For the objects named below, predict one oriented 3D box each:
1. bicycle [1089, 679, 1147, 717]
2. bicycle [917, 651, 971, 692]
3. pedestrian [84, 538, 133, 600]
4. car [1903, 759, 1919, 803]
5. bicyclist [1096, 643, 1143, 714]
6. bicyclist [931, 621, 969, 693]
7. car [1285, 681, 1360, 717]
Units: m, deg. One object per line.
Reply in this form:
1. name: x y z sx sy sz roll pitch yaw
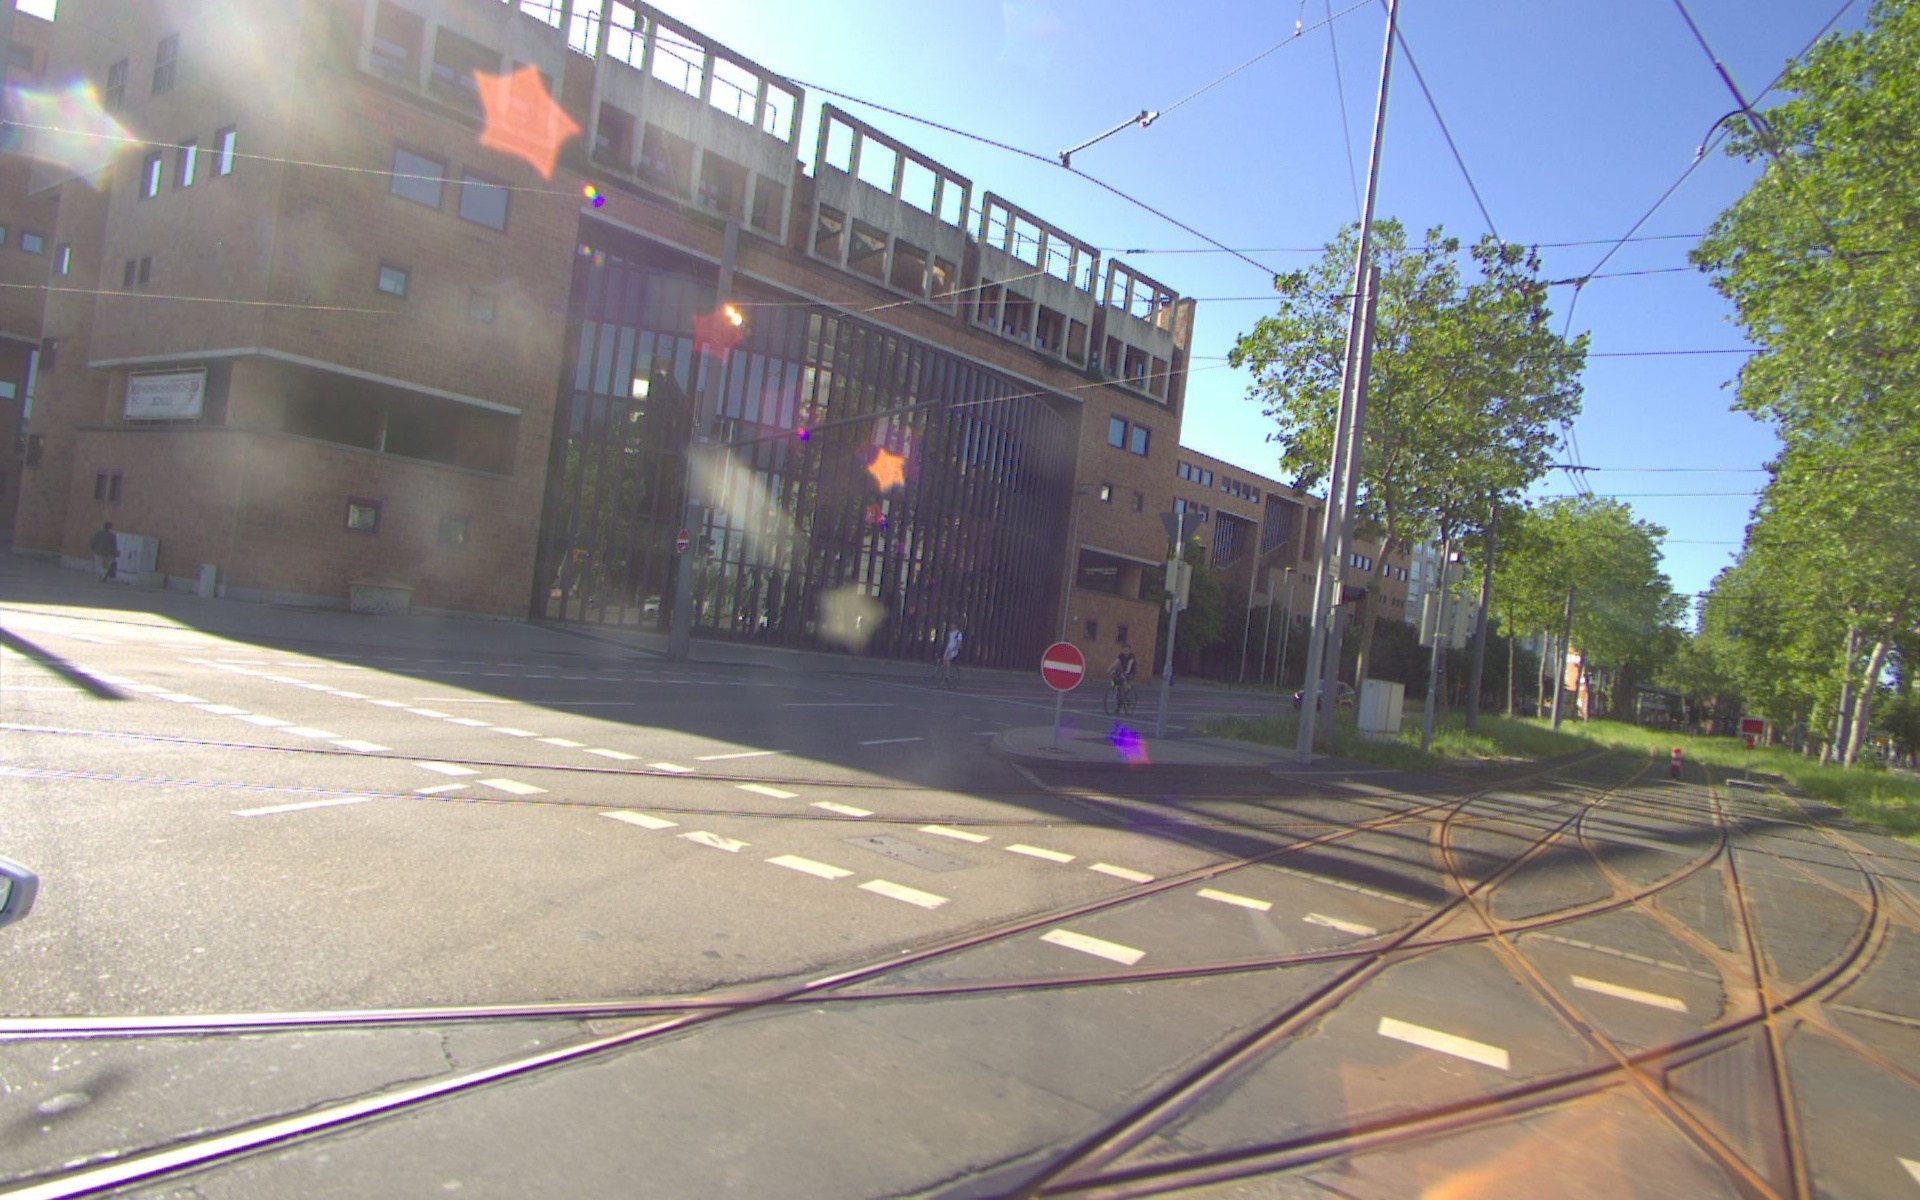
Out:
1. bicycle: 3.887 2.410 24.623 0.663 0.816 1.670 5 -2 36
2. bicycle: -0.429 1.975 27.579 0.662 1.006 1.672 6 -2 29
3. pedestrian: -23.248 -0.840 27.463 0.971 1.581 0.618 5 -1 32
4. car: 35.723 6.680 36.118 1.881 1.600 3.996 8 -3 34
5. bicyclist: 3.901 1.918 24.556 0.661 1.649 0.863 6 -1 36
6. bicyclist: -0.277 1.578 27.727 0.640 1.906 0.607 6 -1 30
7. car: 16.272 4.466 45.104 1.715 1.281 3.982 5 -3 42
